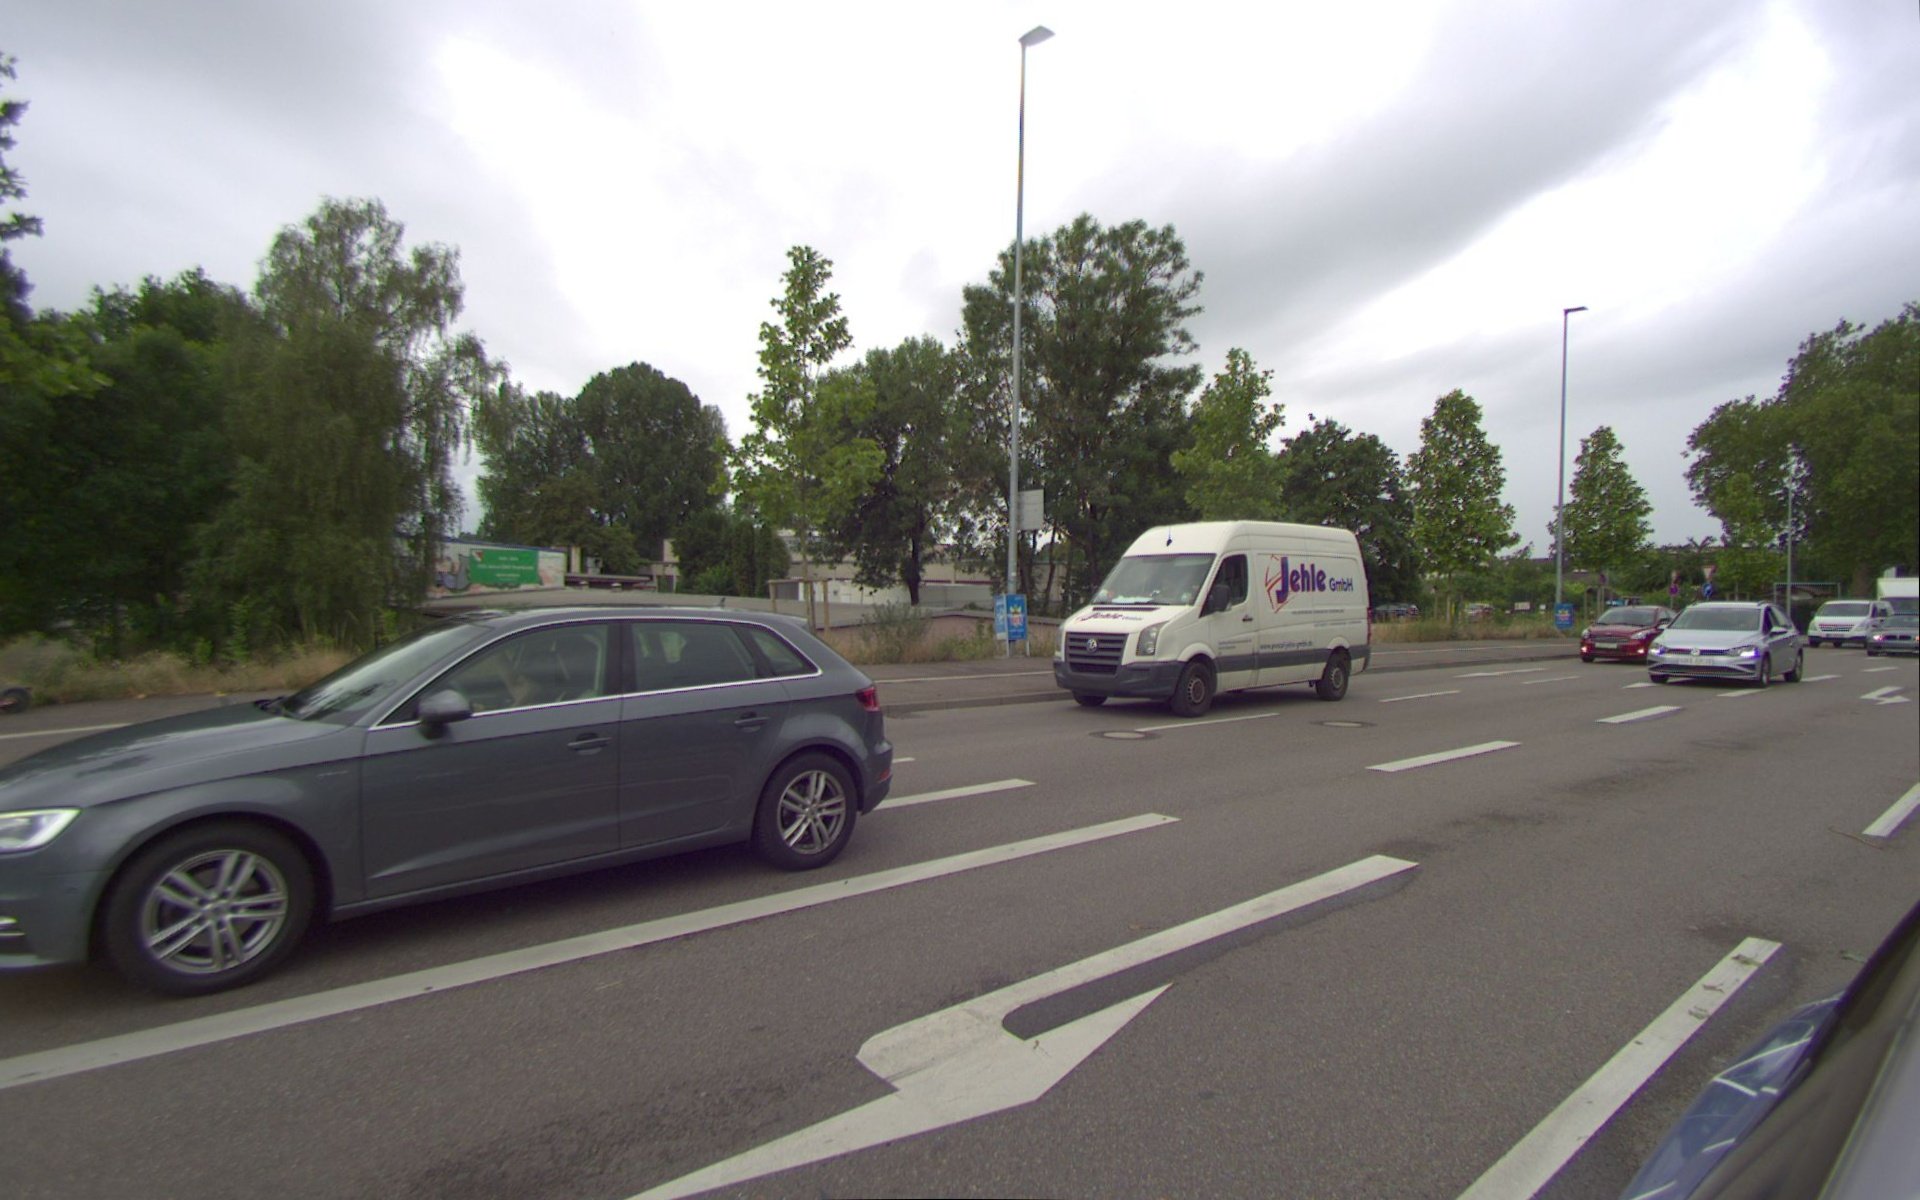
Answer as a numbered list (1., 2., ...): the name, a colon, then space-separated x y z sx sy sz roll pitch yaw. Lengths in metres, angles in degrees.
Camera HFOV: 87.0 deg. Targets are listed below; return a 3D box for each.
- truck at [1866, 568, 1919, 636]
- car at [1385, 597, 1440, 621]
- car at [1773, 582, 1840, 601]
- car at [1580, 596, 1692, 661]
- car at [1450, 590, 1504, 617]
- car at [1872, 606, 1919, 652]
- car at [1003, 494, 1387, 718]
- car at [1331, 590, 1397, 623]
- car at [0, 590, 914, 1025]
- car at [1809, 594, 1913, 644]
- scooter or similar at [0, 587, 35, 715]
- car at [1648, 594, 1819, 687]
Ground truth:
1. truck: 43.894 0.096 46.129 6.424 2.960 2.826 1 0 -38
2. car: 33.110 0.646 74.053 4.572 1.717 2.119 1 -1 -44
3. car: 68.299 -0.677 81.689 1.781 1.527 3.990 -1 1 -44
4. car: 17.940 0.708 26.811 3.707 1.581 1.653 1 0 -43
5. car: 40.693 0.301 79.639 4.477 2.039 2.314 2 -1 -41
6. car: 31.120 0.903 32.771 4.268 1.408 1.873 1 0 -41
7. car: 3.641 0.083 14.958 5.796 2.659 2.661 1 0 -41
8. car: 27.324 0.450 68.379 4.476 2.038 2.188 2 2 -40
9. car: -2.346 0.686 5.162 4.005 1.419 1.741 1 0 -41
10. car: 35.964 0.728 40.357 5.024 1.904 2.100 1 0 -36
11. scooter or similar: -9.772 0.513 9.864 1.027 1.229 0.376 -2 3 -33
12. car: 14.898 0.700 19.409 4.128 1.572 1.858 0 0 -41
